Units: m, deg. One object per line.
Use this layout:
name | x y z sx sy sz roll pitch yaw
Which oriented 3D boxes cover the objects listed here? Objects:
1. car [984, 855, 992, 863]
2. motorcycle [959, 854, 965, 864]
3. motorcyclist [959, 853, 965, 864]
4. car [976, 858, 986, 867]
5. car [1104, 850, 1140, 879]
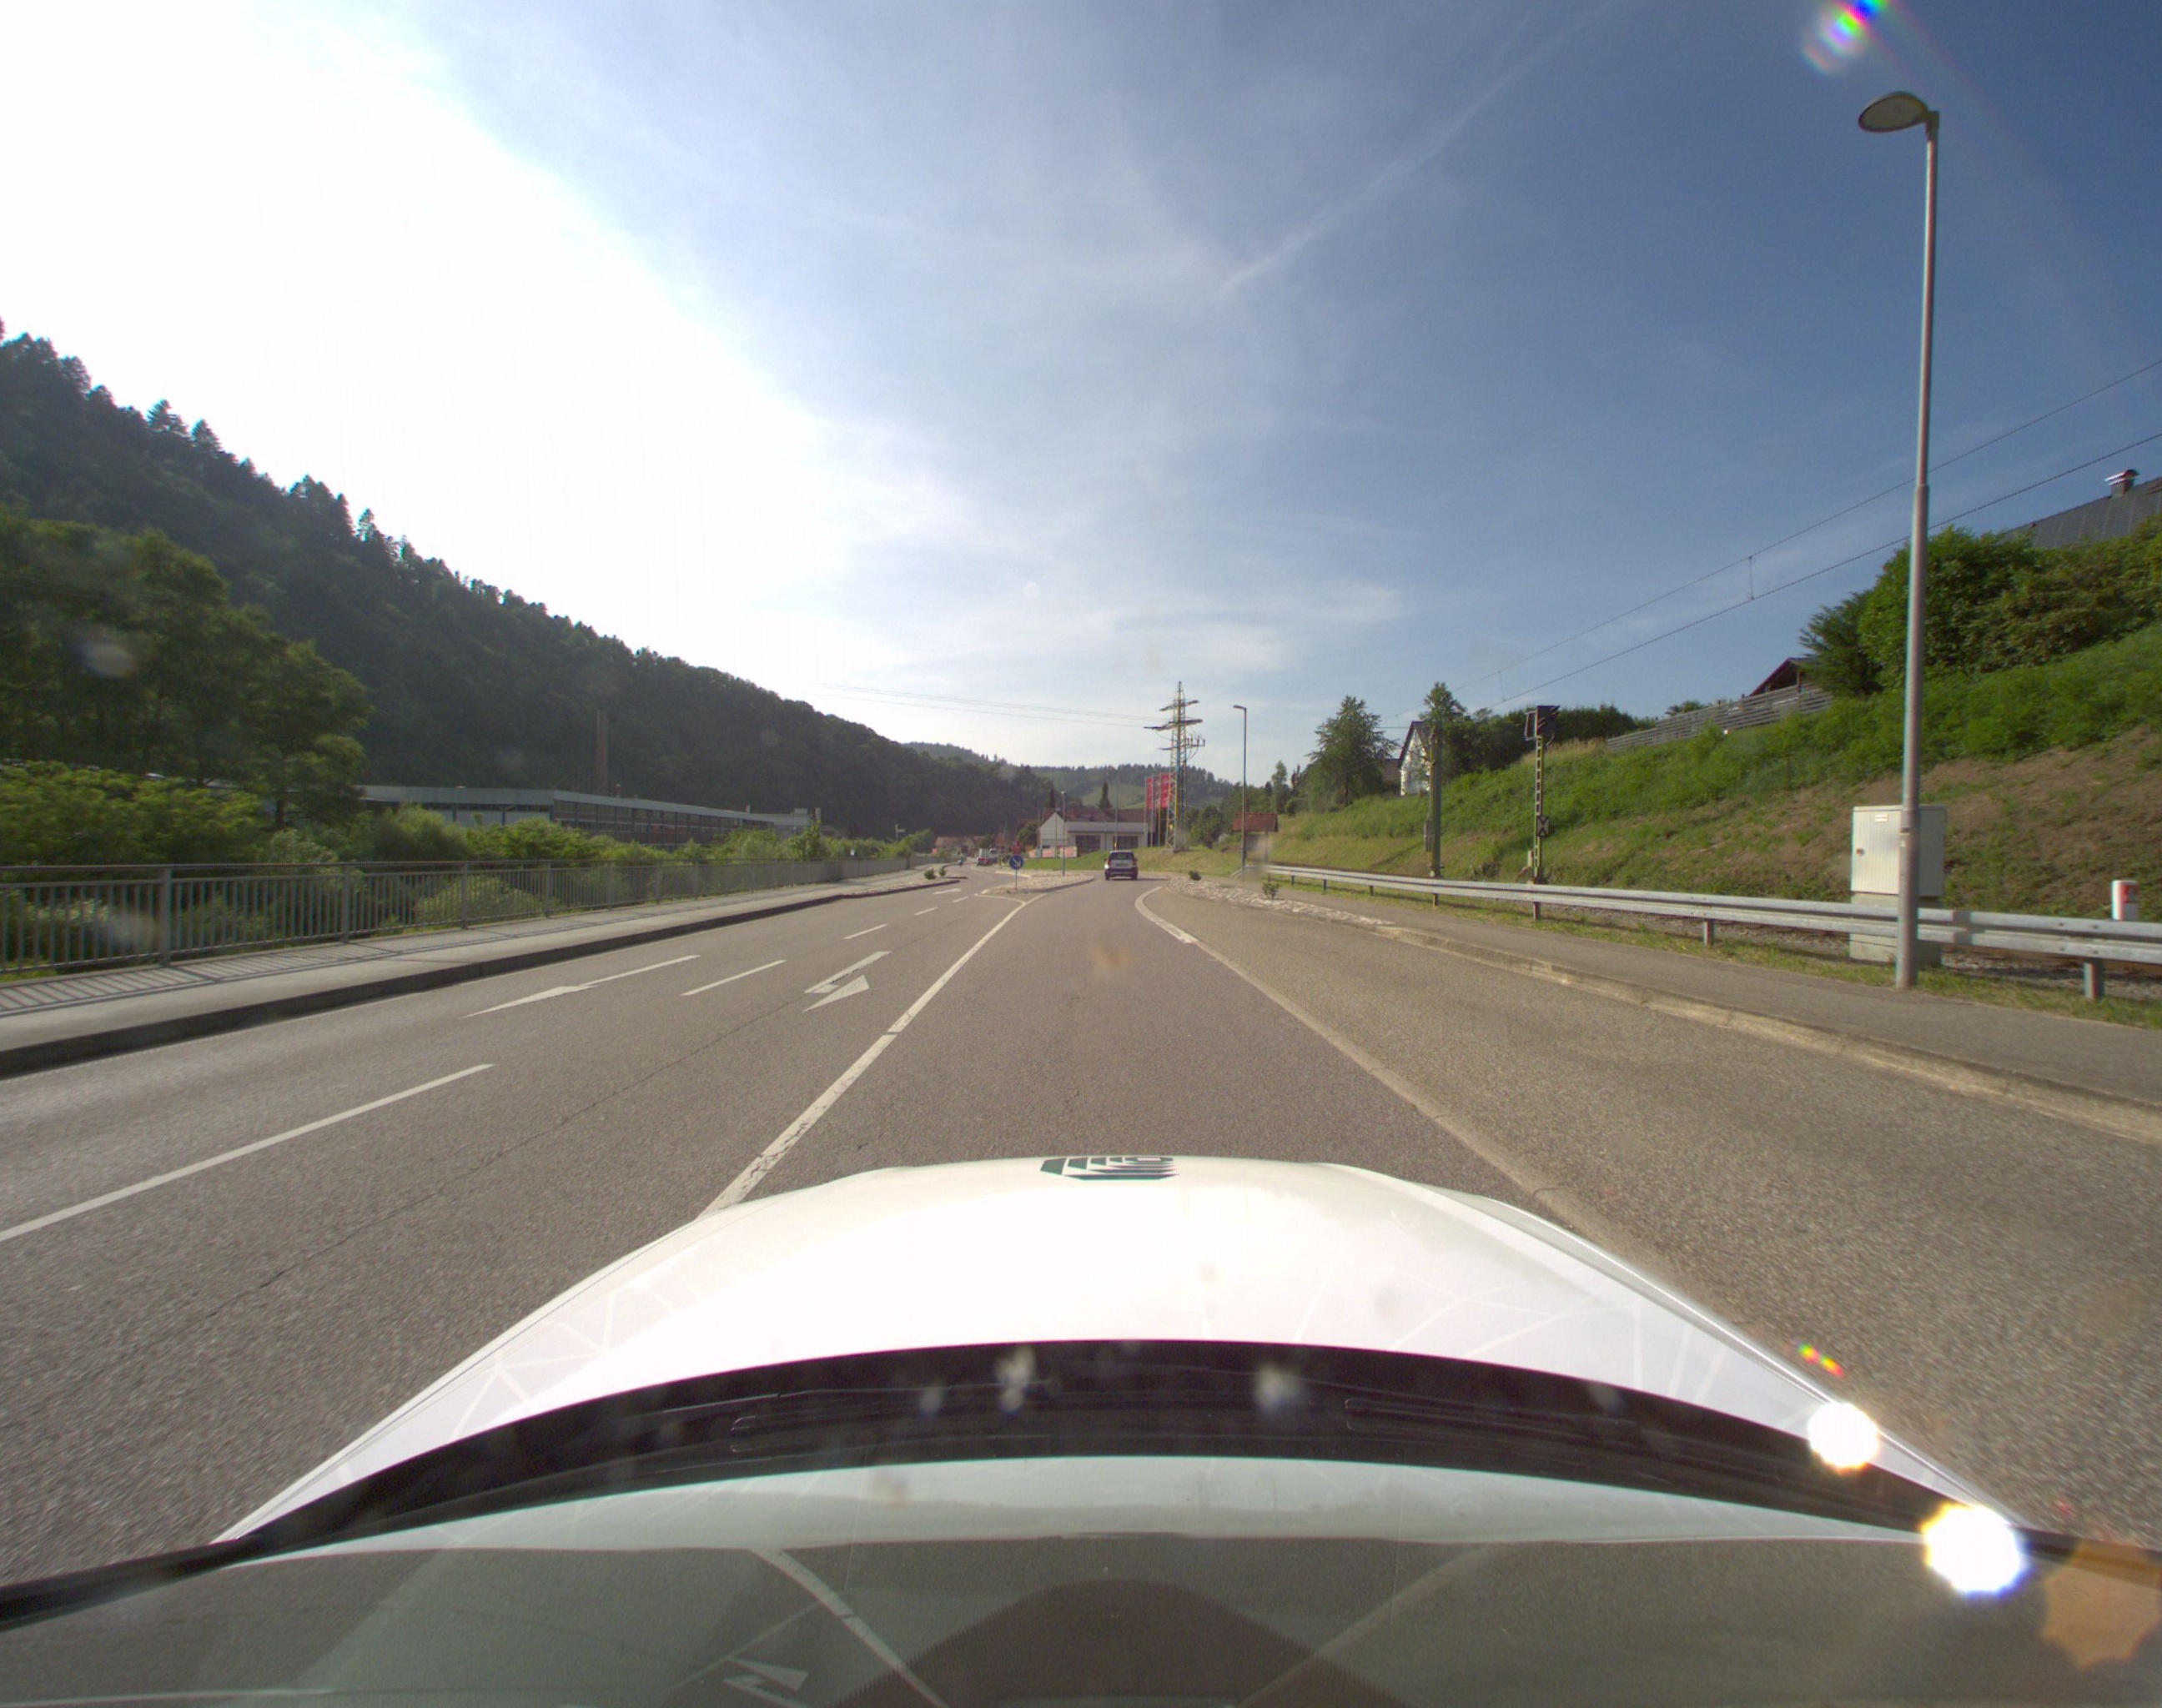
car | -17.414 0.961 152.191 1.354 1.435 2.834 1 1 -5
motorcycle | -17.738 0.785 121.284 0.771 1.422 2.314 0 0 -6
motorcyclist | -17.698 0.649 121.150 0.761 1.678 0.725 0 -1 -5
car | -17.277 1.456 140.954 1.450 1.435 2.932 1 1 -4
car | 2.290 0.593 46.093 1.854 1.544 4.373 1 -1 1
